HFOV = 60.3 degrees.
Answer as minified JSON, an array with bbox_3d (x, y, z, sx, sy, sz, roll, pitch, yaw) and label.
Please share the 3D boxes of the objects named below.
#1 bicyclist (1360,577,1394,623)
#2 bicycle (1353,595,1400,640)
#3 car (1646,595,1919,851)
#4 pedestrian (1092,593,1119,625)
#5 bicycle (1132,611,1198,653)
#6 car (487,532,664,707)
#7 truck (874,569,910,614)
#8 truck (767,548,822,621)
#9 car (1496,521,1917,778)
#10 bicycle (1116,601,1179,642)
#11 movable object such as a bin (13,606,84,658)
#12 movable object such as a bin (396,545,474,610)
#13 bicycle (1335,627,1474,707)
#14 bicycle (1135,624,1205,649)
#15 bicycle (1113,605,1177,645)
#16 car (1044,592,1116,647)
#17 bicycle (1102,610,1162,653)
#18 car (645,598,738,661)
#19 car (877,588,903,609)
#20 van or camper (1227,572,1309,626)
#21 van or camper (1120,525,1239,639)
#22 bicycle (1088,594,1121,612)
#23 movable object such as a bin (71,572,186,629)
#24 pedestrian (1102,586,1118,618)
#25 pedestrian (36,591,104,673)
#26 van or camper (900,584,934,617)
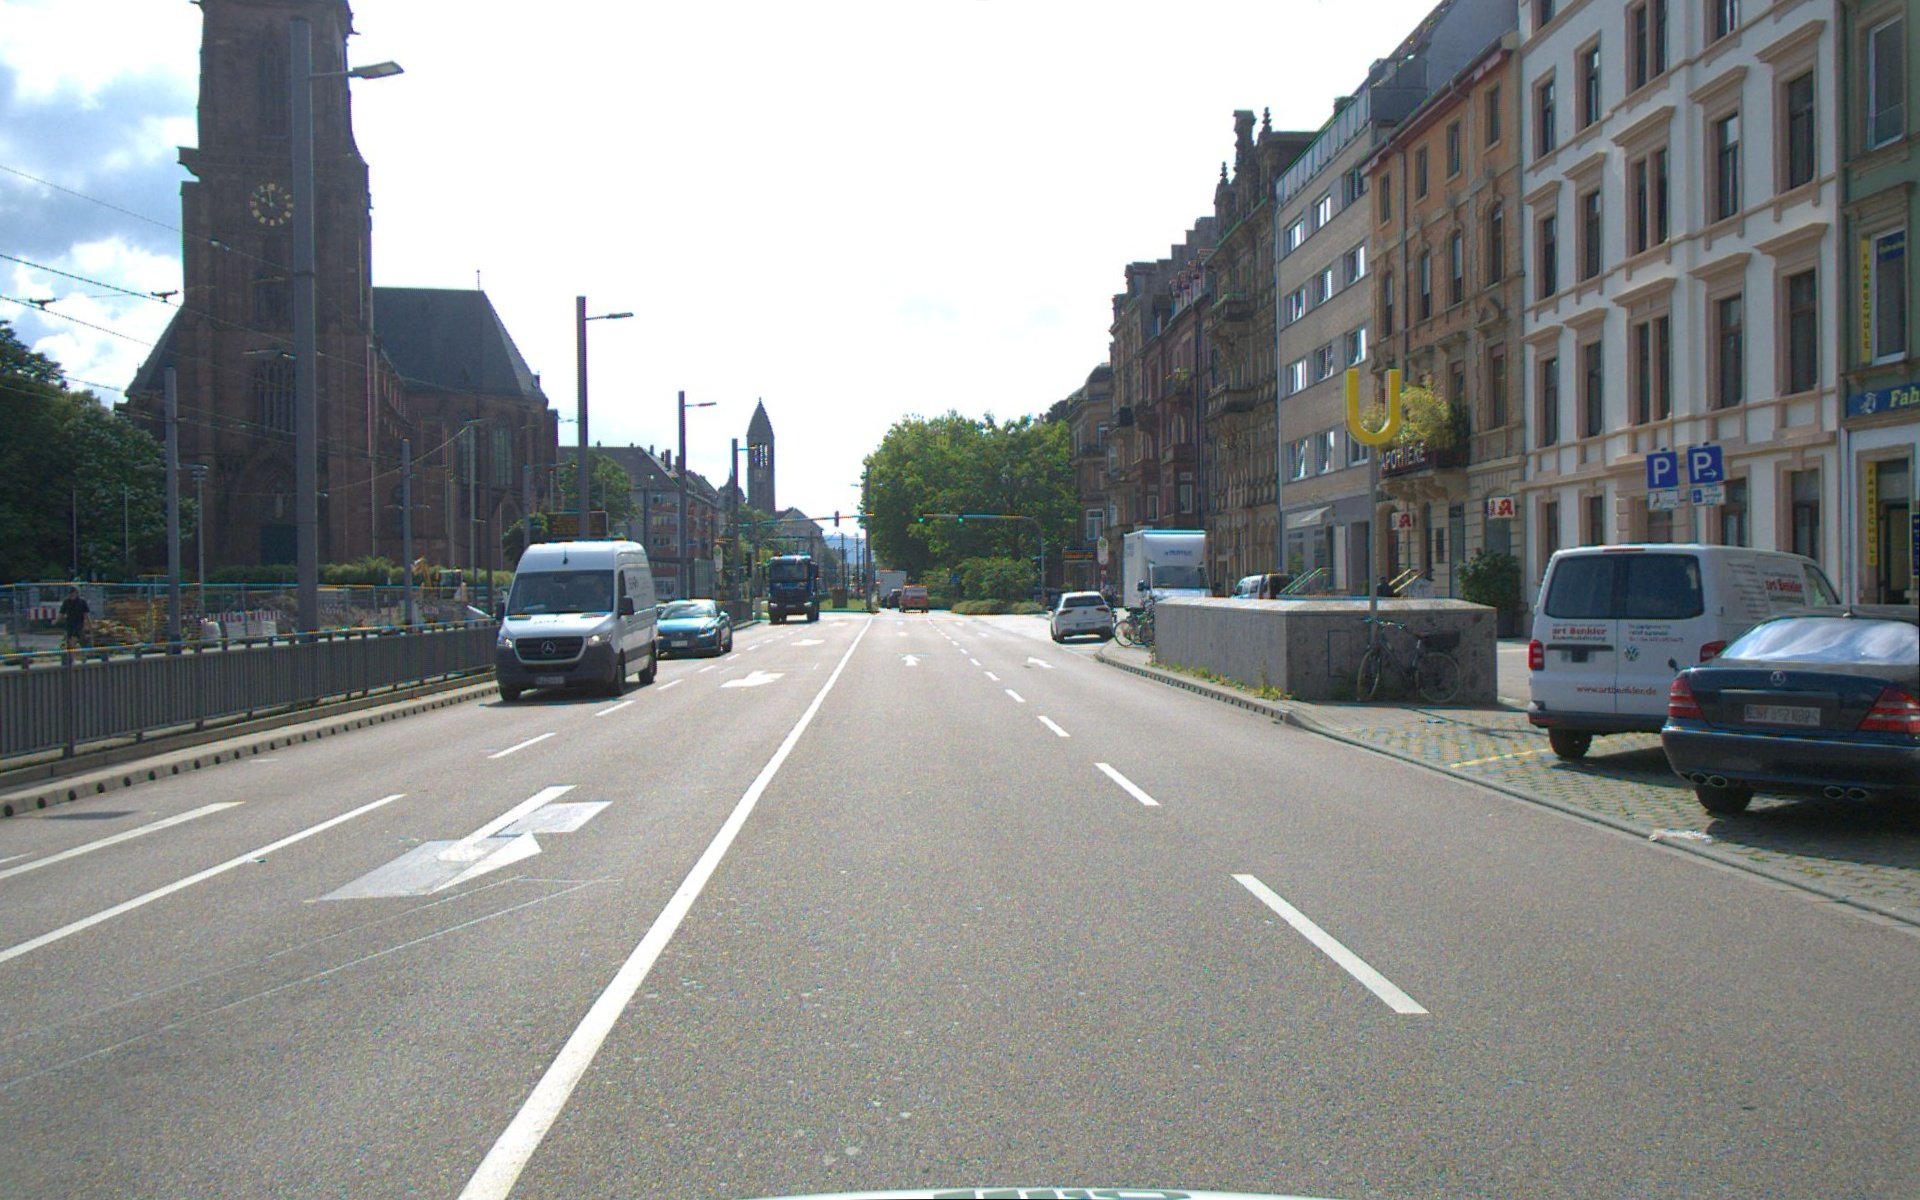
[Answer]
[{"bbox_3d":[11.004,0.004,43.680,0.693,1.168,0.813,1,-4,0],"label":"bicyclist"},{"bbox_3d":[10.999,0.480,43.728,0.689,1.066,2.207,1,-4,0],"label":"bicycle"},{"bbox_3d":[6.912,0.720,11.907,5.027,1.494,1.860,0,-1,-45],"label":"car"},{"bbox_3d":[6.154,0.372,69.987,0.738,1.339,0.809,2,-1,-41],"label":"pedestrian"},{"bbox_3d":[5.492,0.860,44.275,1.729,1.104,0.371,0,1,-15],"label":"bicycle"},{"bbox_3d":[-6.531,0.312,28.760,1.954,2.667,5.577,-2,0,-3],"label":"car"},{"bbox_3d":[-6.108,-0.717,148.852,3.106,3.344,7.292,0,-5,-2],"label":"truck"},{"bbox_3d":[-8.770,-0.836,88.471,2.413,3.712,7.447,-1,0,-2],"label":"truck"},{"bbox_3d":[7.360,0.414,16.041,4.860,2.121,2.047,1,0,-44],"label":"car"},{"bbox_3d":[5.206,0.597,45.943,1.725,1.104,0.372,0,1,-8],"label":"bicycle"},{"bbox_3d":[-41.649,1.426,75.658,1.962,2.244,4.252,-1,0,-17],"label":"movable object such as a bin"},{"bbox_3d":[-32.111,-1.353,101.385,2.609,3.796,5.597,-1,0,5],"label":"movable object such as a bin"},{"bbox_3d":[6.045,0.908,22.513,1.739,1.021,0.512,2,-1,-8],"label":"bicycle"},{"bbox_3d":[5.226,0.902,41.323,0.633,0.596,1.743,-1,-1,-42],"label":"bicycle"},{"bbox_3d":[5.185,0.690,46.341,1.725,1.104,0.372,0,1,-8],"label":"bicycle"},{"bbox_3d":[3.650,0.601,50.930,1.755,1.462,4.342,-4,-1,-1],"label":"car"},{"bbox_3d":[4.495,0.823,43.243,1.574,1.104,0.370,0,1,-22],"label":"bicycle"},{"bbox_3d":[-7.092,0.742,44.099,1.812,1.481,4.553,-2,1,-2],"label":"car"},{"bbox_3d":[-5.468,-0.125,128.730,1.954,1.534,3.997,-1,0,-4],"label":"car"},{"bbox_3d":[12.068,-0.032,65.133,1.954,1.938,5.295,-3,0,-3],"label":"van or camper"},{"bbox_3d":[6.996,-0.518,53.763,2.657,3.389,7.637,-1,0,-1],"label":"van or camper"},{"bbox_3d":[9.828,0.231,112.739,2.148,1.201,0.683,-1,0,-7],"label":"bicycle"},{"bbox_3d":[-42.686,0.019,84.964,4.805,2.851,1.999,-1,0,-2],"label":"movable object such as a bin"},{"bbox_3d":[9.553,0.142,105.499,0.868,2.049,0.995,1,-1,-2],"label":"pedestrian"},{"bbox_3d":[-20.583,0.721,38.278,0.976,1.831,1.047,1,2,3],"label":"pedestrian"},{"bbox_3d":[-3.064,0.074,116.230,1.970,1.948,4.515,2,-4,-6],"label":"van or camper"}]
